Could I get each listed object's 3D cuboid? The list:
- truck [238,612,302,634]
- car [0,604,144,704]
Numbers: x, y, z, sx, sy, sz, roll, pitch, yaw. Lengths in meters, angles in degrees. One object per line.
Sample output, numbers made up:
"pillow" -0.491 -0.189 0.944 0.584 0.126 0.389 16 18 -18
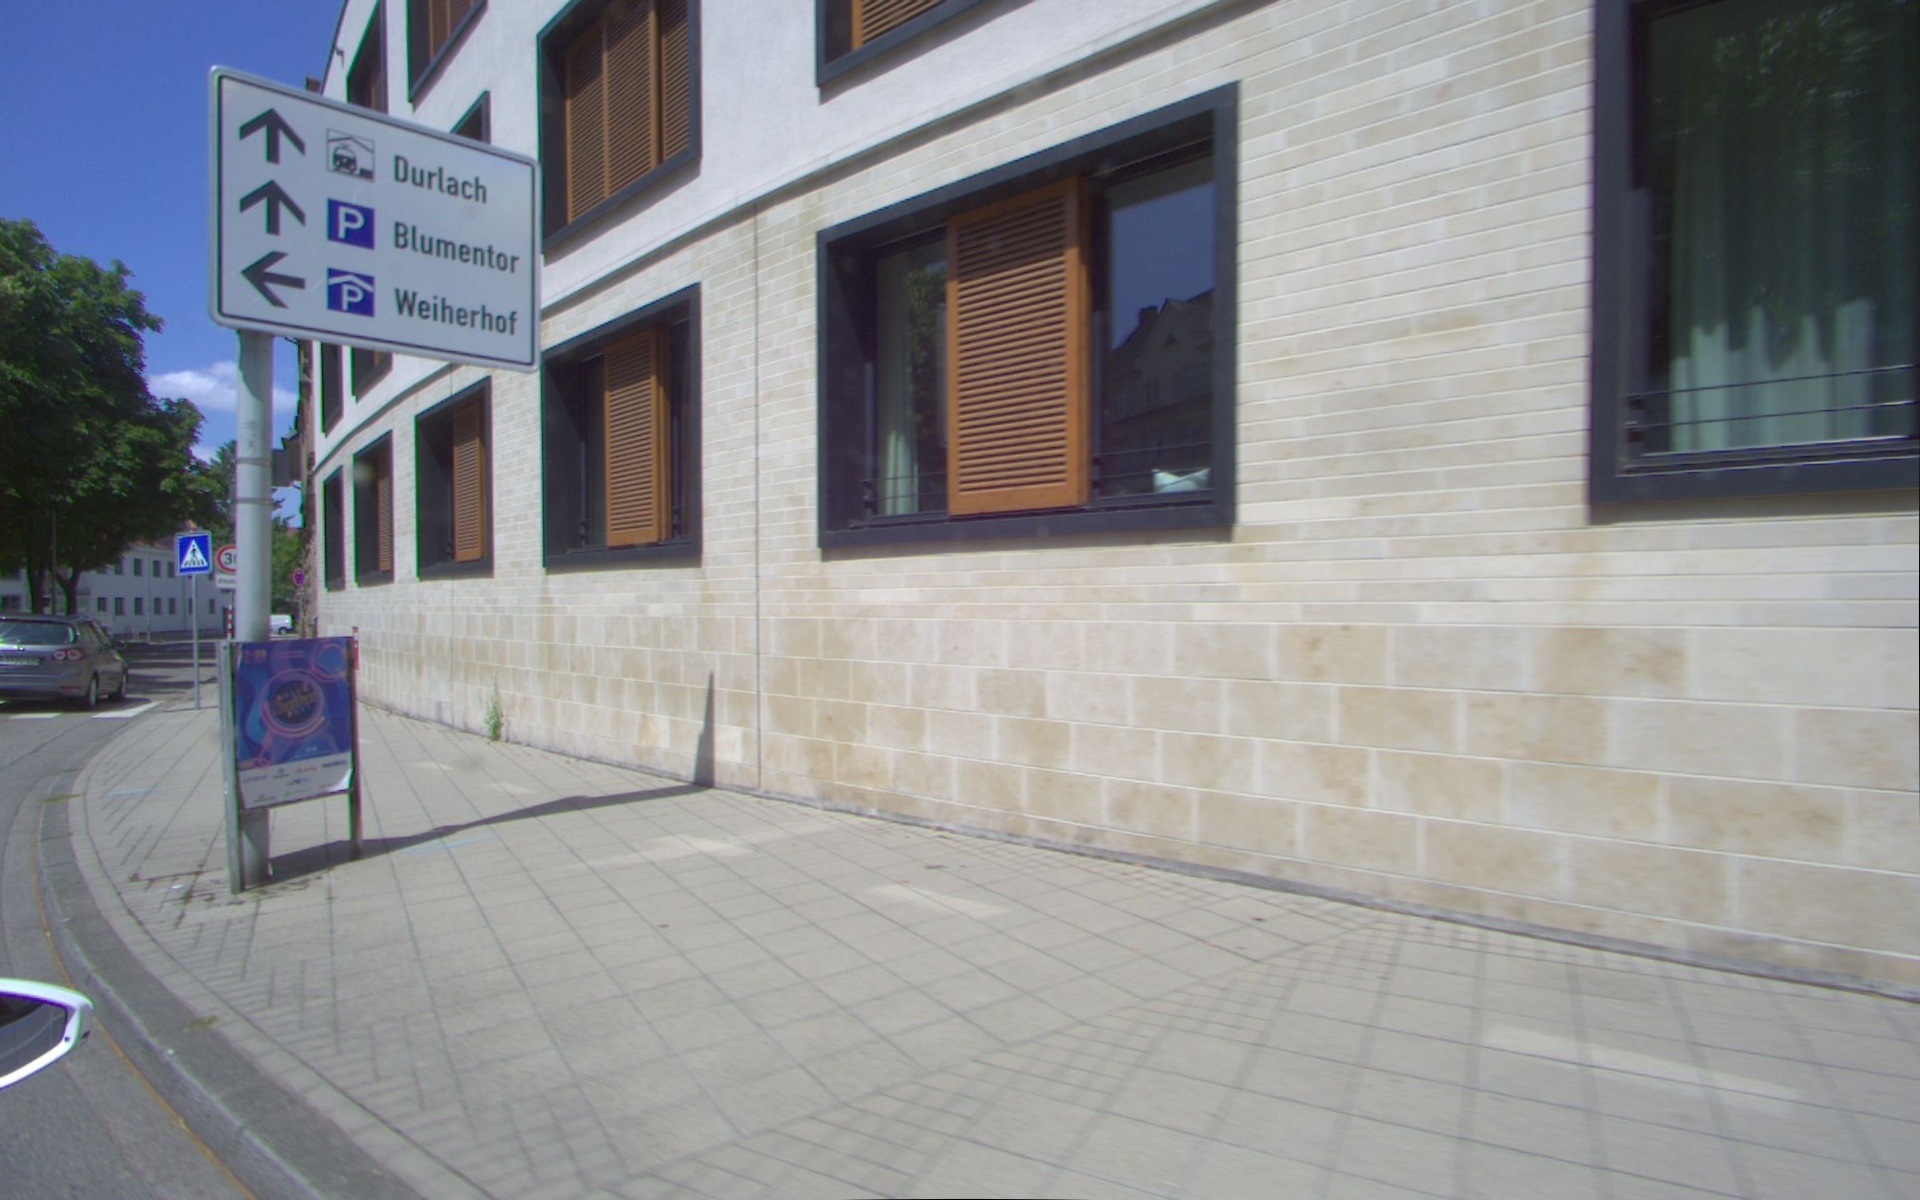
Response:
"truck" -64.112 2.136 93.105 4.756 2.040 2.128 1 -1 -40
"car" -15.892 0.902 17.568 1.885 1.553 4.218 4 -3 -33
